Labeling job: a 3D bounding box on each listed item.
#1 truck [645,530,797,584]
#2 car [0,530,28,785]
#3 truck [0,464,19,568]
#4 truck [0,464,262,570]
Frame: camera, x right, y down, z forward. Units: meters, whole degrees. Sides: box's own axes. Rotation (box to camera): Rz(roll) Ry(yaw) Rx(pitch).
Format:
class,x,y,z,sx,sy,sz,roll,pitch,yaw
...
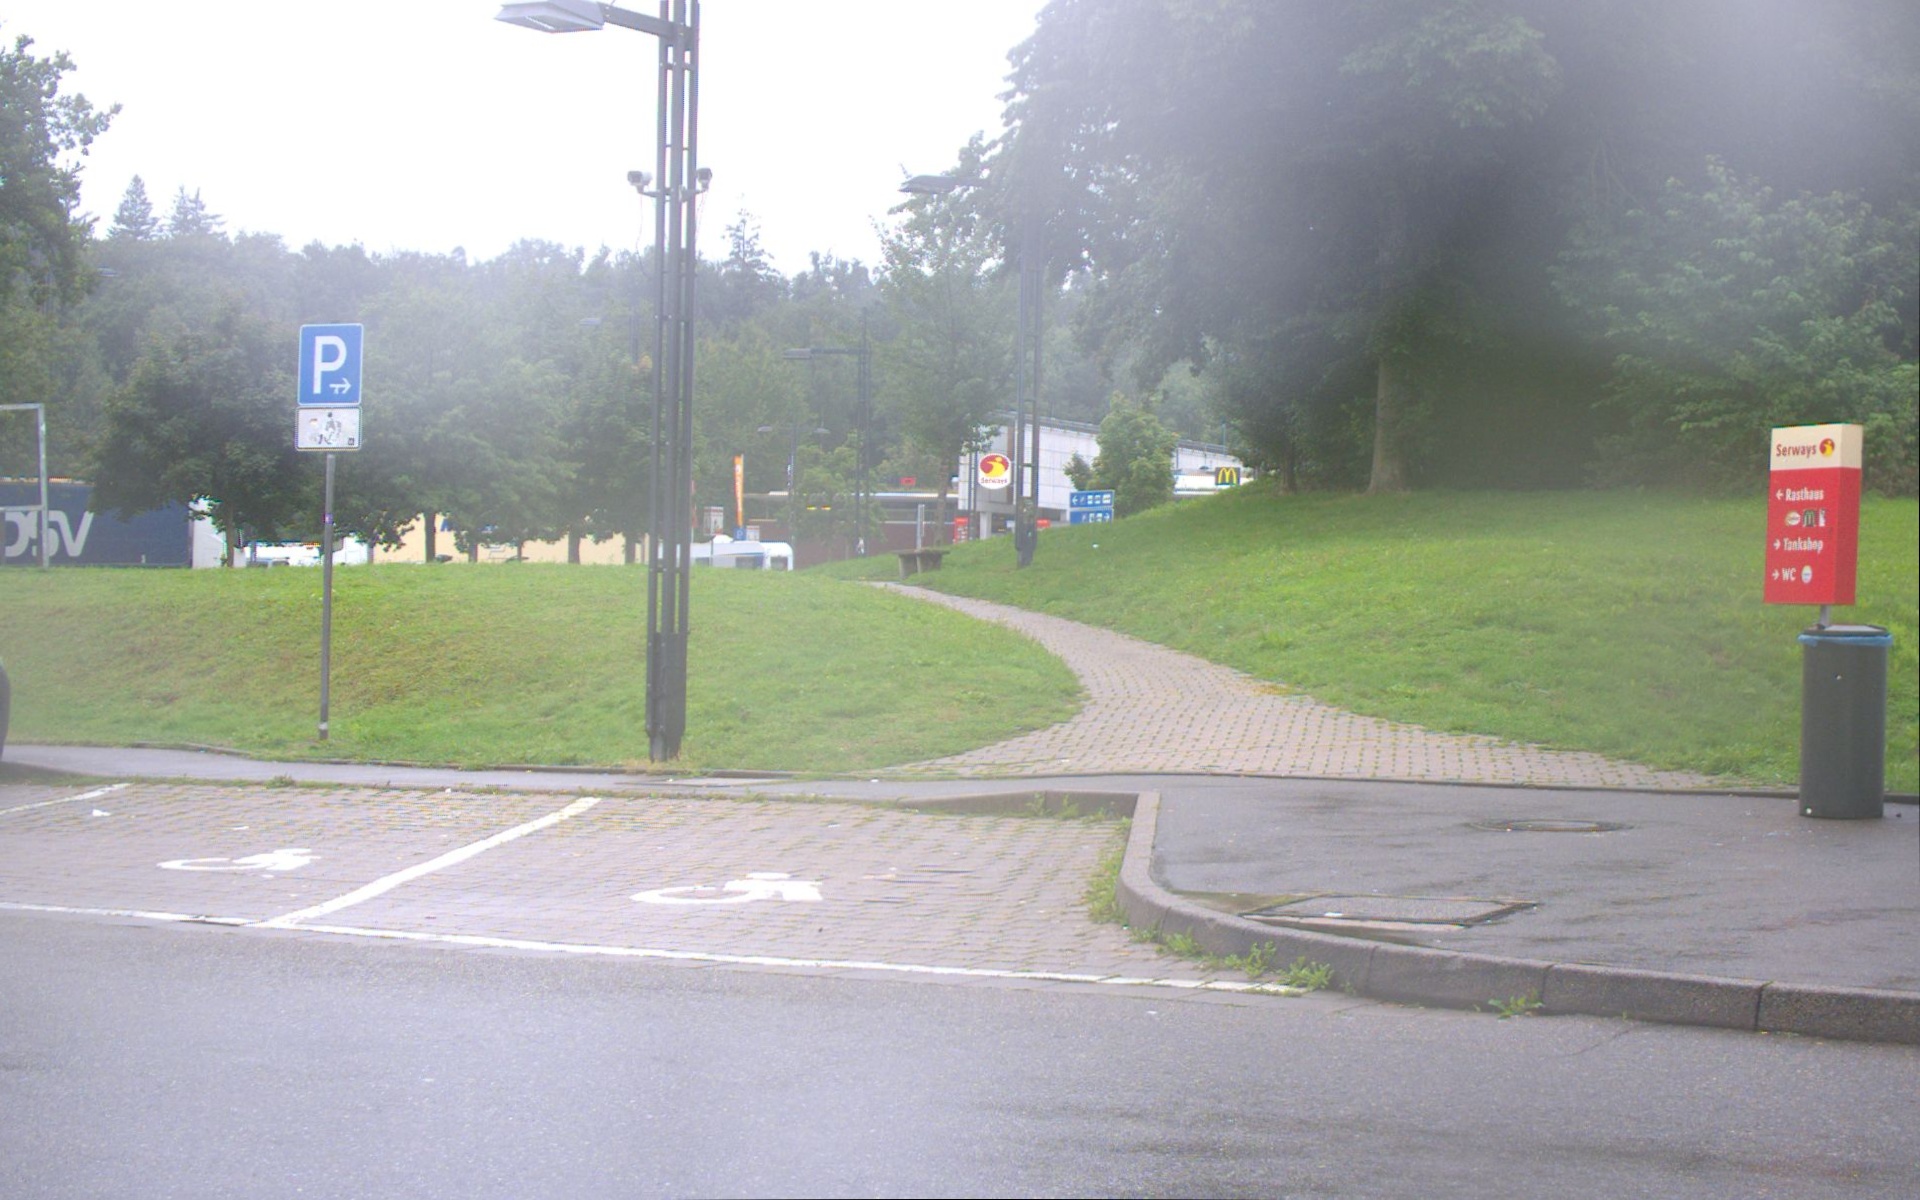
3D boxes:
class,x,y,z,sx,sy,sz,roll,pitch,yaw
truck,-9.314,-1.675,133.846,5.413,2.007,2.364,1,1,25
car,-7.800,0.449,21.532,2.018,1.705,4.341,-1,1,12
truck,-28.594,-2.351,94.701,2.189,2.910,5.380,1,1,24
truck,-25.455,-2.377,101.670,2.188,2.910,13.082,1,1,24
